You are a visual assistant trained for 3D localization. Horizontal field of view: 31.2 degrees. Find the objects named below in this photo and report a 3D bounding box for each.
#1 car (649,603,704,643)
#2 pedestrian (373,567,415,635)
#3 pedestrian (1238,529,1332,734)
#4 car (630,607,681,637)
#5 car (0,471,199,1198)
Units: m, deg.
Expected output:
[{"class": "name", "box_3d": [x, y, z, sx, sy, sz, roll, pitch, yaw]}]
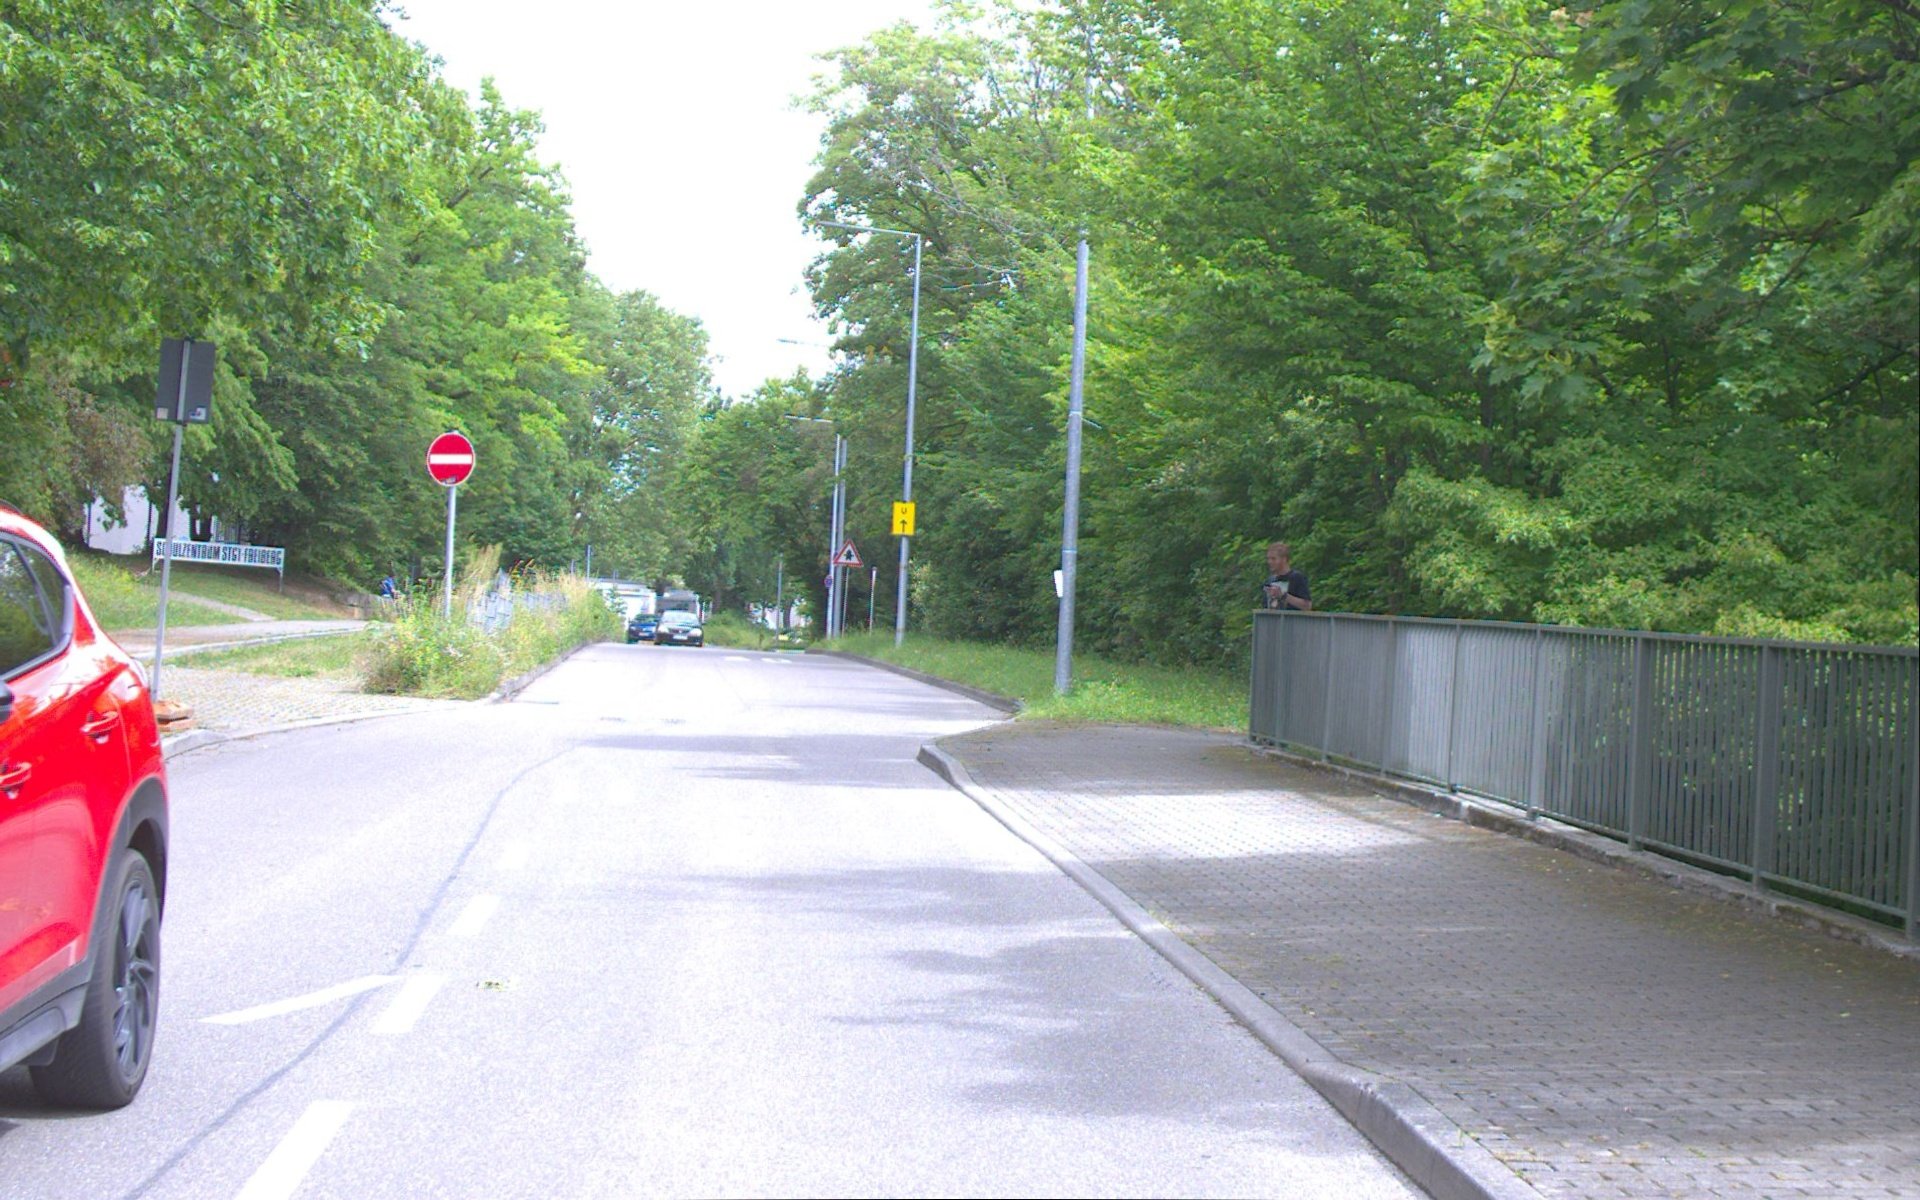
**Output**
[{"class": "car", "box_3d": [-10.158, 0.808, 123.458, 1.693, 1.344, 4.095, 2, 0, -2]}, {"class": "pedestrian", "box_3d": [-17.197, 0.044, 104.417, 0.877, 2.007, 0.865, -2, -4, 41]}, {"class": "pedestrian", "box_3d": [2.873, 0.277, 30.448, 0.587, 1.777, 0.682, 2, -1, -13]}, {"class": "car", "box_3d": [-15.542, 1.136, 175.648, 1.979, 1.379, 3.999, 4, -1, 3]}, {"class": "car", "box_3d": [-3.080, 0.508, 7.706, 1.843, 1.653, 4.222, 2, 1, -1]}]
